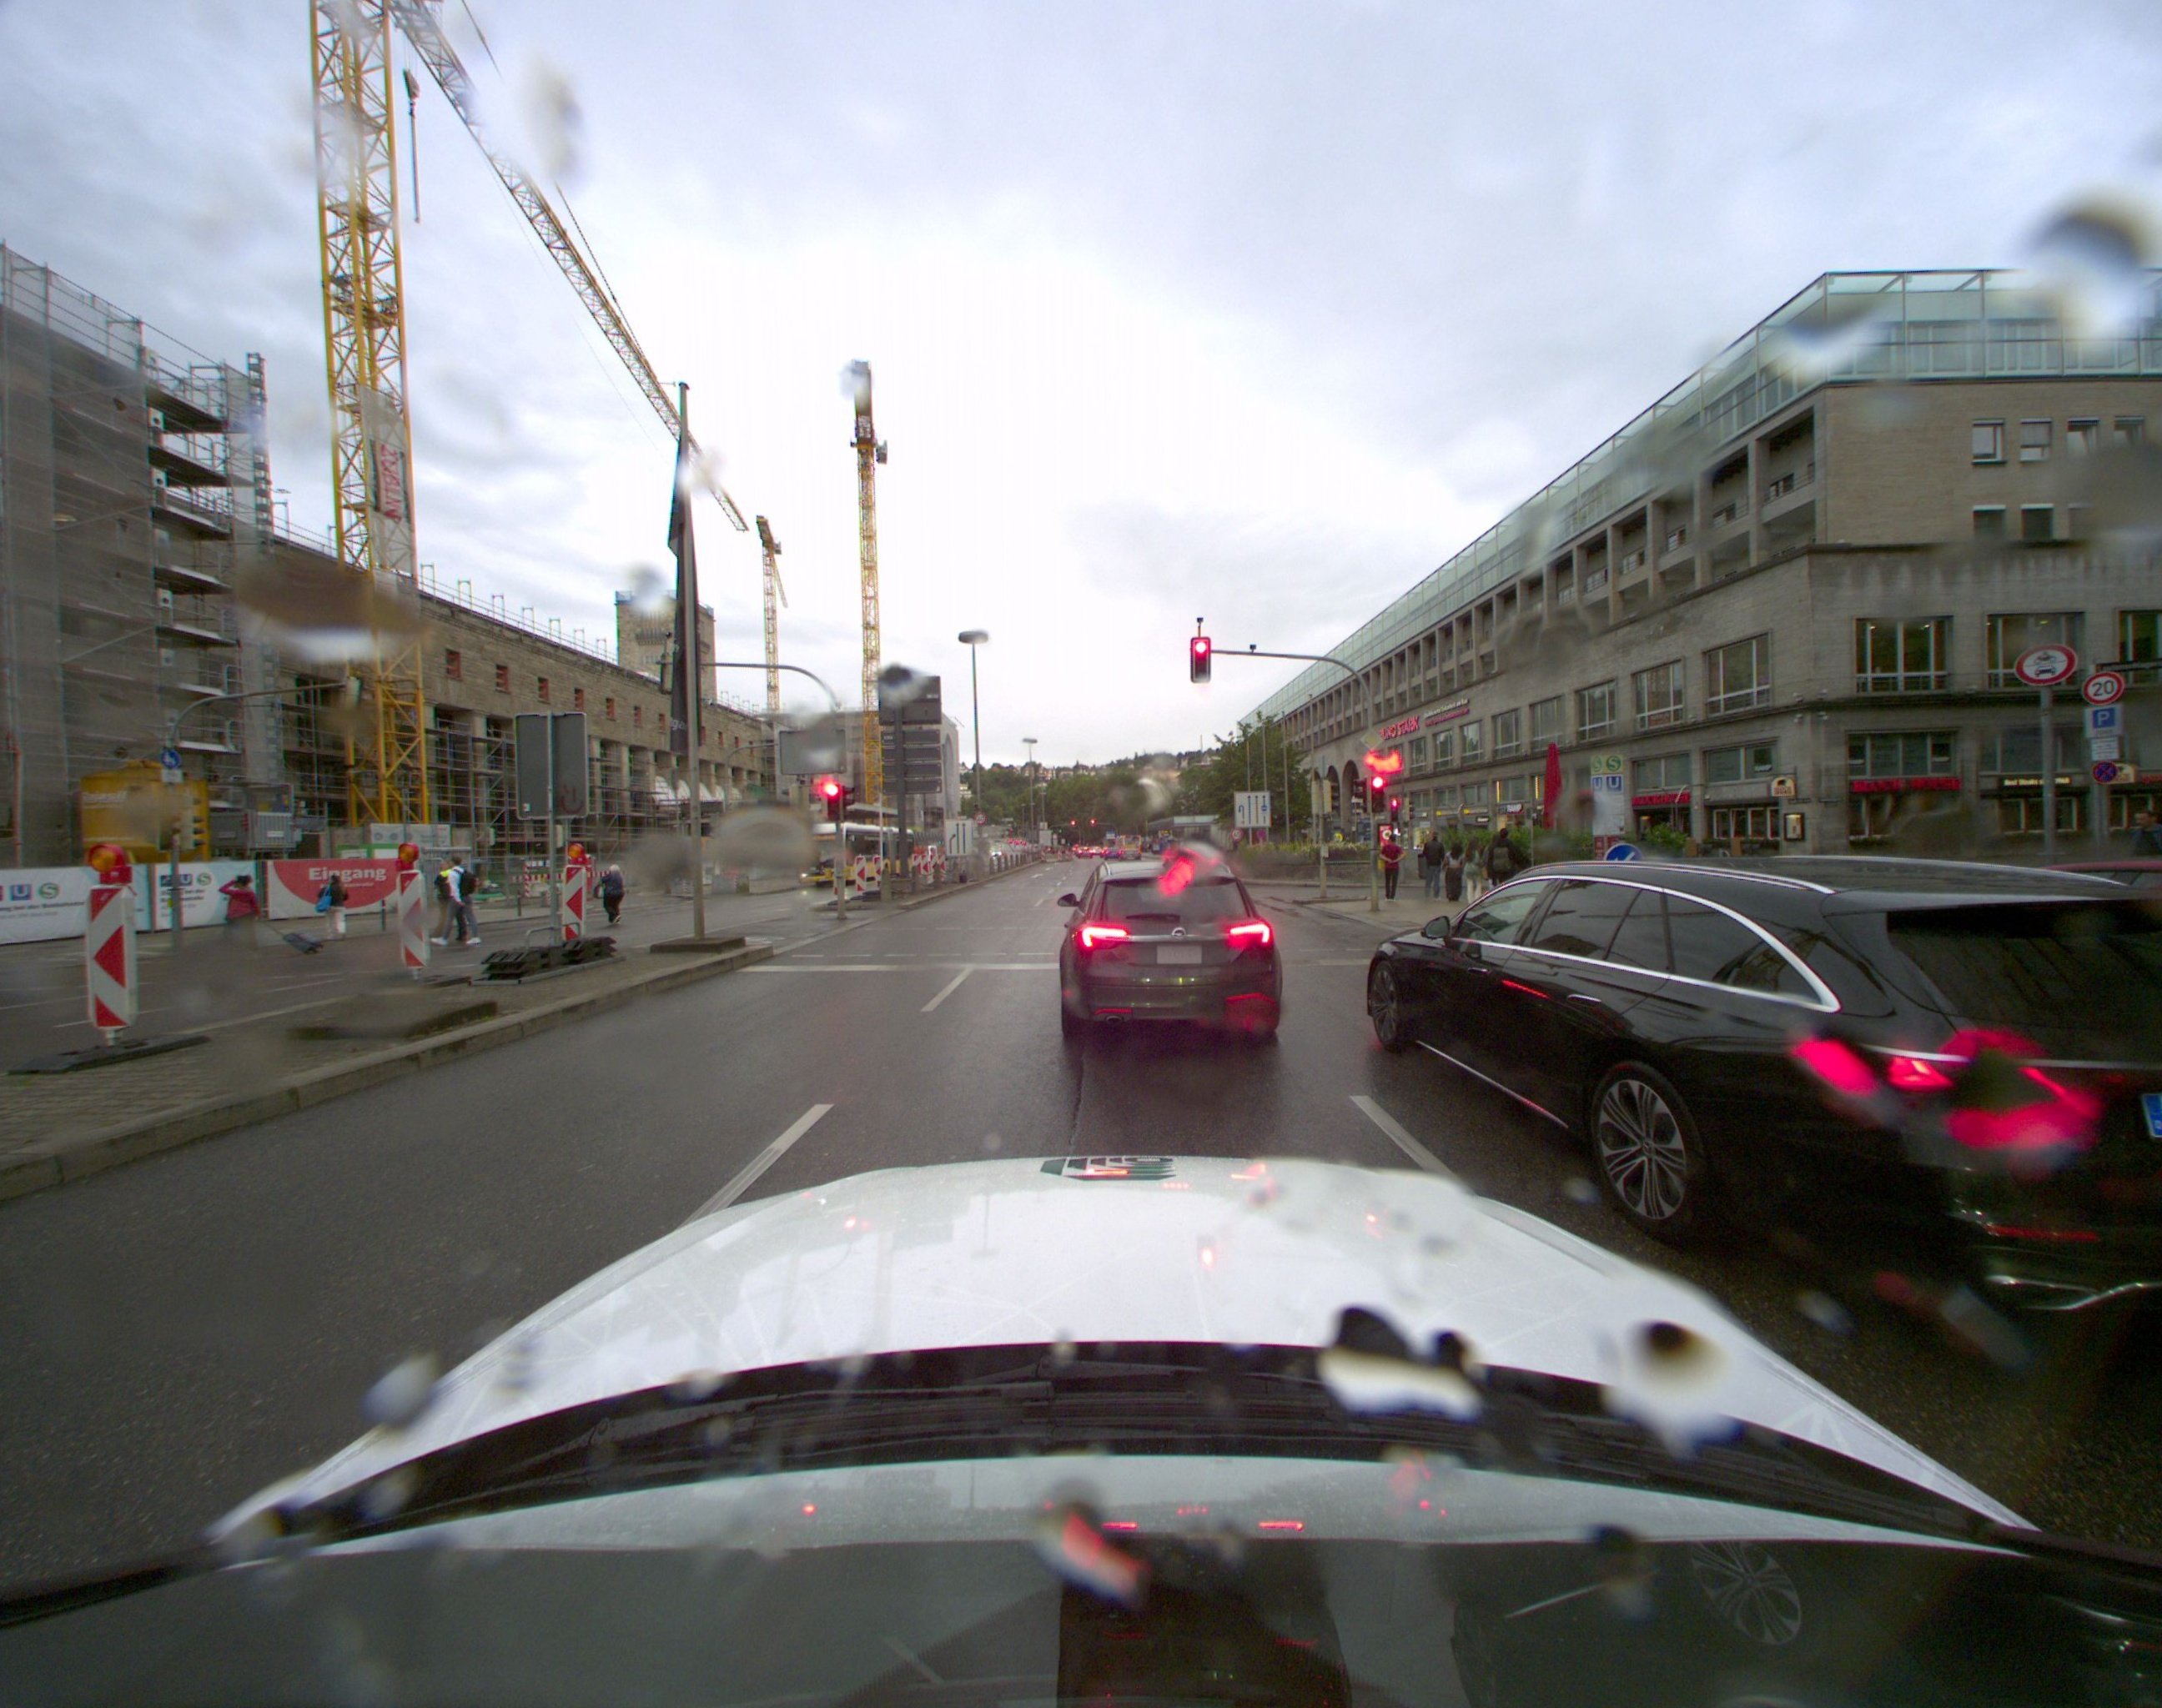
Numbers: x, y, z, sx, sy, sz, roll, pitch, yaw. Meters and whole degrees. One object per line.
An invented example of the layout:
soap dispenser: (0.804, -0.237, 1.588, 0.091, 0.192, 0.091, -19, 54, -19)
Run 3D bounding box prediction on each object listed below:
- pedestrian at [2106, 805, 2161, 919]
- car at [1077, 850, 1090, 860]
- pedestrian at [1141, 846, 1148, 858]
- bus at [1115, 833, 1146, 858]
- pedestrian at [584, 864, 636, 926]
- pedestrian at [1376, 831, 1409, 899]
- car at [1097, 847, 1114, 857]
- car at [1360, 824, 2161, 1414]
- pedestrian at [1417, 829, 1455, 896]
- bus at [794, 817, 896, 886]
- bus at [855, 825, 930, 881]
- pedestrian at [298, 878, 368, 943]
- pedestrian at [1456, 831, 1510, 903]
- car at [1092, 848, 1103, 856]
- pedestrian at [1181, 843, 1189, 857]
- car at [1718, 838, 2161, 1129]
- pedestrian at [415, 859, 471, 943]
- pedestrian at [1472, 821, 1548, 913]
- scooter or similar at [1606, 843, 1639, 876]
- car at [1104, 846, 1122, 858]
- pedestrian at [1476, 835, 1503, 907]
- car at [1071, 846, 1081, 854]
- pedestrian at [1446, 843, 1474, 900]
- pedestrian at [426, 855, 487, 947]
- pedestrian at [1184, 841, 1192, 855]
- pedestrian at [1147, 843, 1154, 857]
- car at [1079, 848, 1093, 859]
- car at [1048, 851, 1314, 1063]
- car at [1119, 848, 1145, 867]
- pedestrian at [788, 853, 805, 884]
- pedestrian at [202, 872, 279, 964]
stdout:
pedestrian: (16.765, 0.121, 12.773, 0.770, 1.756, 0.507, -1, -1, 45)
car: (0.395, 0.135, 123.912, 1.839, 1.398, 3.565, 0, 0, 2)
pedestrian: (11.690, -0.428, 149.230, 1.194, 2.149, 1.229, 0, -1, 3)
bus: (7.207, -1.117, 120.958, 4.158, 3.469, 14.659, 0, 0, 2)
pedestrian: (-12.318, 1.058, 21.313, 0.865, 1.561, 0.791, -1, -1, 20)
pedestrian: (8.084, 0.280, 21.144, 0.563, 1.752, 0.684, -1, -1, 44)
car: (3.339, -0.282, 111.139, 1.750, 1.398, 4.394, 0, 0, -5)
car: (3.119, 0.683, 4.389, 1.786, 1.501, 4.630, 0, 0, 2)
pedestrian: (9.200, 0.213, 21.122, 0.753, 1.717, 0.466, 0, -1, -2)
bus: (-13.438, -0.101, 47.430, 2.658, 3.602, 10.243, 0, 0, 2)
bus: (-13.114, -0.051, 57.718, 2.658, 3.602, 10.215, 0, 0, 2)
pedestrian: (-18.804, 1.396, 20.483, 0.912, 1.563, 0.899, 0, -1, -2)
pedestrian: (9.290, 0.294, 18.846, 0.791, 1.626, 0.899, 0, -1, -2)
car: (2.876, -0.386, 140.475, 1.839, 1.398, 3.565, 0, 0, 2)
pedestrian: (12.157, -0.445, 95.349, 0.761, 1.690, 0.824, 0, -1, -3)
car: (6.471, 0.660, 4.868, 1.868, 1.486, 4.527, 0, 0, 1)
pedestrian: (-14.310, 1.032, 18.283, 0.576, 1.836, 0.820, 0, -1, 2)
pedestrian: (8.596, 0.259, 16.352, 1.093, 1.751, 0.653, -3, -1, -1)
scooter or similar: (19.367, 0.194, 29.142, 0.290, 1.189, 1.014, 0, -1, -17)
car: (3.664, -0.230, 93.564, 1.748, 1.398, 4.647, 0, 0, -1)
pedestrian: (10.225, 0.408, 20.398, 0.477, 1.751, 0.670, -4, -1, 22)
car: (-0.955, -0.671, 150.246, 1.752, 1.398, 3.565, 0, 0, 2)
pedestrian: (9.629, 0.432, 20.709, 0.625, 1.428, 0.492, -1, -1, 24)
pedestrian: (-13.137, 0.965, 17.140, 0.798, 1.890, 0.618, 0, -1, -7)
pedestrian: (12.376, -0.685, 94.135, 0.761, 1.690, 0.824, 0, -1, -3)
pedestrian: (11.534, -0.639, 135.408, 1.194, 2.435, 1.229, 0, -1, 3)
car: (0.695, -0.084, 107.077, 1.747, 1.398, 4.538, 0, 0, 0)
car: (0.756, 0.738, 7.757, 1.868, 1.486, 4.001, 0, 0, 1)
car: (3.881, 0.254, 62.515, 1.839, 1.398, 3.668, 0, 0, 2)
pedestrian: (-15.604, 0.801, 44.663, 0.657, 1.680, 0.644, 0, -1, 2)
pedestrian: (-16.607, 1.248, 16.098, 0.797, 1.717, 0.619, -3, 0, -2)
